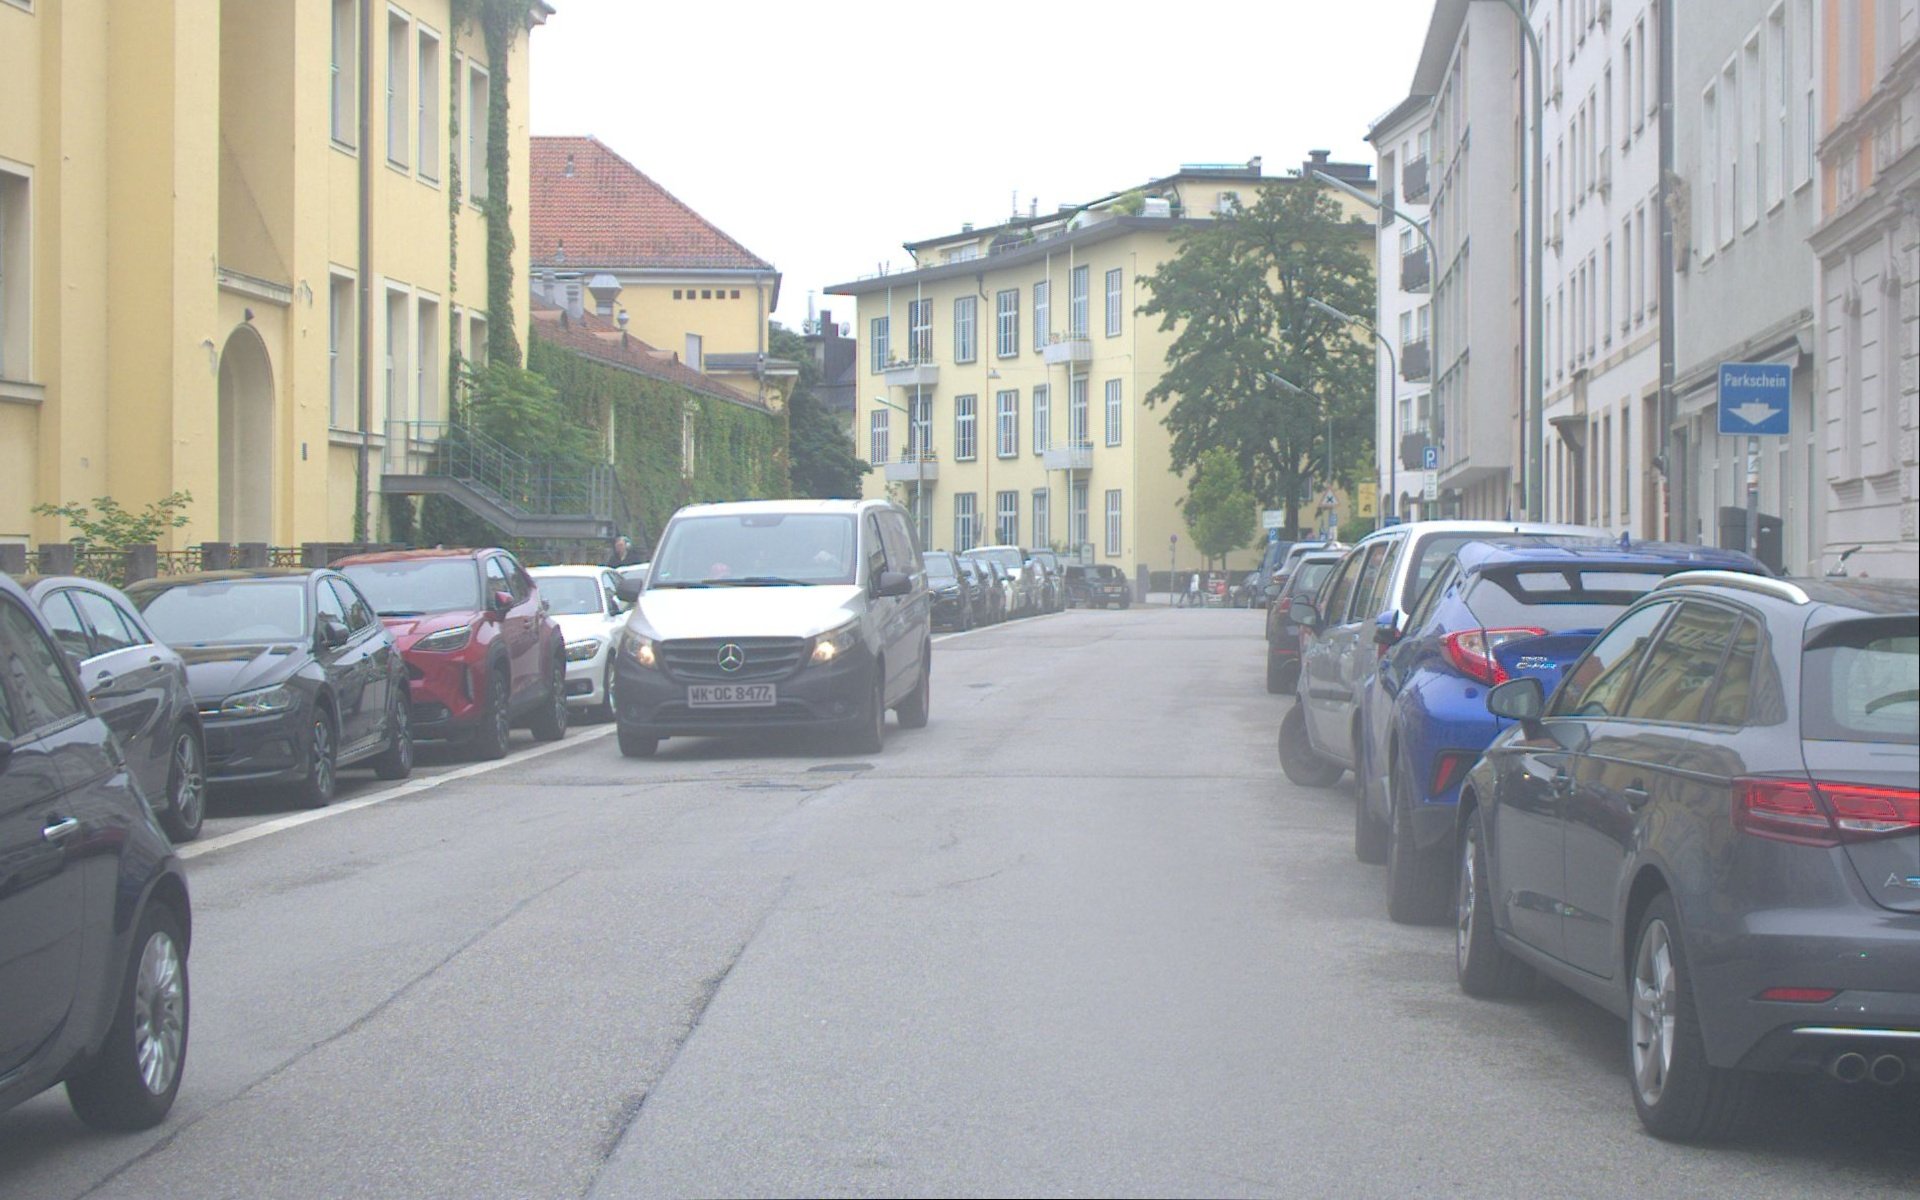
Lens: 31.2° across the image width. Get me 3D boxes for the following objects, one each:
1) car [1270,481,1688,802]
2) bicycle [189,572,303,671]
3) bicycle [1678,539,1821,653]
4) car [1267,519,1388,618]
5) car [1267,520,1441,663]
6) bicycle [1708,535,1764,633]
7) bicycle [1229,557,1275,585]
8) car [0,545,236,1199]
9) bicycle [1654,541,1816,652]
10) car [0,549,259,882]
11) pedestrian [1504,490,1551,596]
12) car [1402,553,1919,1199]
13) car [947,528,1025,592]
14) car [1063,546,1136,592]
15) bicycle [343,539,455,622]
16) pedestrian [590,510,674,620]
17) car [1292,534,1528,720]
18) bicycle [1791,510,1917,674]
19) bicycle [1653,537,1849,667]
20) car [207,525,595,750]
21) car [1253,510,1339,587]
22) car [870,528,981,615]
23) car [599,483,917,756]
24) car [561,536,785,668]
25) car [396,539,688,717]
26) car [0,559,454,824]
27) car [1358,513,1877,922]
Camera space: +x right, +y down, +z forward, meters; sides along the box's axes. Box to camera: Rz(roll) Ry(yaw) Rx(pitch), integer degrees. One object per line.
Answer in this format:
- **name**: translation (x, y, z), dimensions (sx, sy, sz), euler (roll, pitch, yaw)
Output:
- **car**: translation (2.926, 0.187, 20.129), dimensions (1.681, 1.667, 3.805), euler (1, 1, -3)
- **bicycle**: translation (-7.833, 0.226, 37.778), dimensions (0.537, 1.059, 1.639), euler (0, 1, 15)
- **bicycle**: translation (7.874, -0.054, 34.238), dimensions (0.621, 1.086, 1.810), euler (0, 1, 40)
- **car**: translation (5.996, -0.527, 55.966), dimensions (1.840, 1.517, 4.708), euler (1, 1, 7)
- **car**: translation (4.109, -0.112, 35.884), dimensions (1.688, 1.397, 4.363), euler (0, 1, 7)
- **bicycle**: translation (9.447, -0.207, 41.866), dimensions (0.384, 1.154, 1.949), euler (-1, 1, 5)
- **bicycle**: translation (12.753, -1.276, 150.251), dimensions (1.923, 1.197, 0.595), euler (0, 1, 19)
- **car**: translation (-2.897, 0.615, 7.469), dimensions (1.661, 1.469, 3.707), euler (0, 1, 4)
- **bicycle**: translation (7.863, -0.047, 34.838), dimensions (1.842, 1.064, 0.515), euler (-2, 1, -37)
- **car**: translation (-5.002, 0.525, 16.564), dimensions (2.014, 1.413, 4.615), euler (-3, 0, 3)
- **pedestrian**: translation (9.554, -0.957, 57.910), dimensions (0.723, 1.757, 0.904), euler (0, -1, 6)
- **car**: translation (2.519, 0.637, 10.054), dimensions (1.705, 1.449, 4.402), euler (2, 1, -2)
- **car**: translation (0.654, -0.960, 83.393), dimensions (1.591, 1.436, 4.018), euler (-3, 0, 4)
- **car**: translation (6.100, -1.390, 151.139), dimensions (1.762, 1.868, 4.380), euler (4, 0, -17)
- **bicycle**: translation (-8.758, -0.302, 53.678), dimensions (1.626, 1.264, 0.527), euler (-1, 1, 7)
- **pedestrian**: translation (-5.215, -0.557, 54.668), dimensions (0.902, 1.713, 1.057), euler (-1, 1, 21)
- **car**: translation (3.965, 0.187, 30.839), dimensions (1.687, 1.495, 4.147), euler (2, 1, 2)
- **bicycle**: translation (7.806, -0.090, 30.085), dimensions (0.595, 1.380, 2.092), euler (-1, 1, 2)
- **bicycle**: translation (7.375, 0.007, 31.988), dimensions (2.086, 1.135, 0.584), euler (-2, 1, -38)
- **car**: translation (-4.140, 0.239, 26.219), dimensions (1.958, 1.477, 4.529), euler (-3, 0, 3)
- **car**: translation (11.104, -1.664, 113.947), dimensions (2.079, 2.226, 5.244), euler (4, -1, -1)
- **car**: translation (-0.645, -0.573, 68.268), dimensions (1.789, 1.581, 4.818), euler (-3, 1, 3)
- **car**: translation (-1.431, 0.101, 26.430), dimensions (1.915, 1.842, 5.321), euler (-1, 1, 2)
- **car**: translation (-3.225, -0.009, 39.458), dimensions (1.785, 1.427, 4.651), euler (0, 1, 5)
- **car**: translation (-3.786, 0.216, 31.900), dimensions (1.794, 1.424, 4.664), euler (-4, 0, 3)
- **car**: translation (-4.466, 0.492, 21.574), dimensions (1.749, 1.400, 4.355), euler (-3, 1, 2)
- **car**: translation (2.662, 0.383, 14.844), dimensions (1.742, 1.489, 4.547), euler (0, 1, 5)
